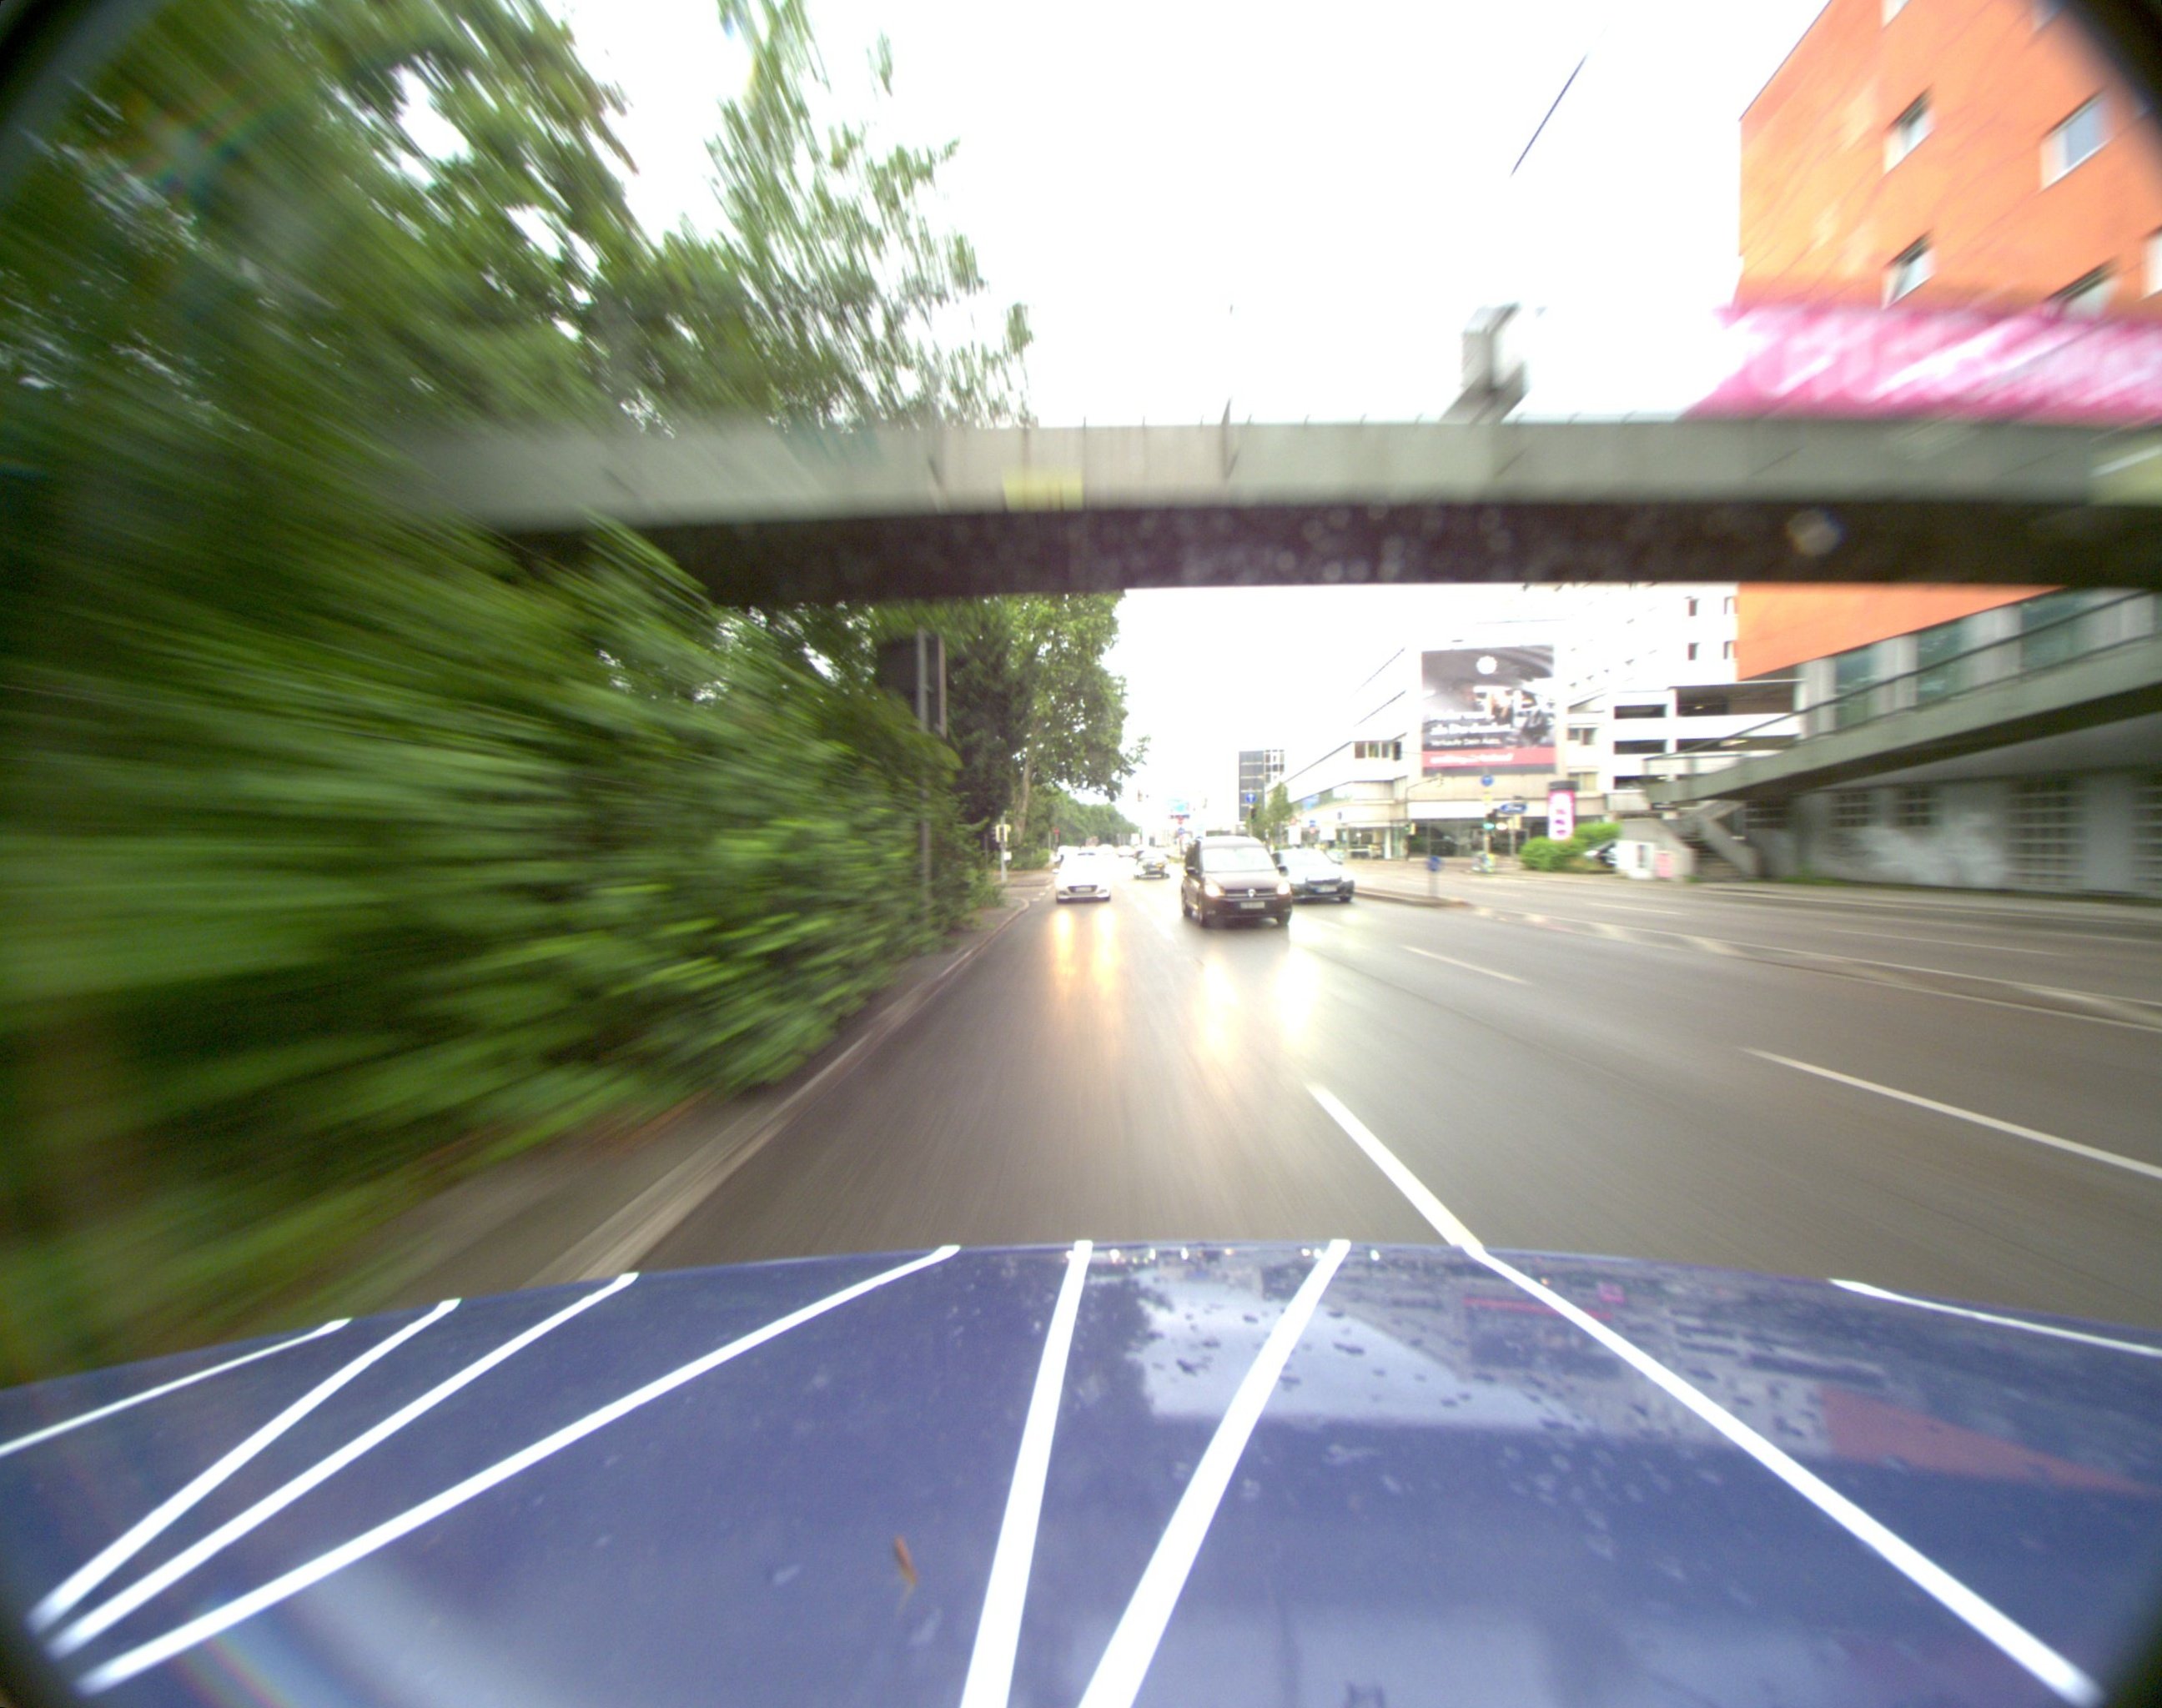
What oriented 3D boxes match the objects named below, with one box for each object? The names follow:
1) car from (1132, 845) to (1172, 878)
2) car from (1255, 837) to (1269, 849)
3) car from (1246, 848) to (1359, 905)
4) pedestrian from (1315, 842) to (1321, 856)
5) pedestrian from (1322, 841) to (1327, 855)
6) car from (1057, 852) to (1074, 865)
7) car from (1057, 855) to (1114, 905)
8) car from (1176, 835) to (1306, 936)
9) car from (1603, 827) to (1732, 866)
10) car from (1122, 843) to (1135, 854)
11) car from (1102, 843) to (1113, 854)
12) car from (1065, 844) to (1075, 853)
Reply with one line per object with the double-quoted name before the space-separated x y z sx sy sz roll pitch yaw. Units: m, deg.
"car" 3.793 0.368 41.051 1.731 1.604 3.999 -2 1 0
"car" 28.307 -1.700 118.965 1.883 1.856 4.002 -2 1 9
"car" 6.137 0.607 21.589 1.670 1.406 4.539 -2 -1 -2
"pedestrian" 26.184 -0.602 83.869 0.575 1.522 0.454 -2 1 6
"pedestrian" 26.840 -0.669 83.733 0.437 1.522 0.513 -2 1 6
"car" -1.934 0.500 94.556 1.730 1.502 3.732 -2 1 4
"car" 0.158 0.807 25.529 1.731 1.431 3.999 -2 1 0
"car" 3.200 0.573 16.018 1.842 1.780 4.000 -3 0 0
"car" 26.812 -0.339 34.860 4.301 1.616 1.936 -2 1 6
"car" 6.841 -0.770 108.401 1.730 1.502 3.732 -2 1 5
"car" 4.768 -1.048 135.438 1.878 1.762 3.999 -3 1 2
"car" -2.402 -1.112 161.187 1.878 1.762 3.999 -3 1 2
